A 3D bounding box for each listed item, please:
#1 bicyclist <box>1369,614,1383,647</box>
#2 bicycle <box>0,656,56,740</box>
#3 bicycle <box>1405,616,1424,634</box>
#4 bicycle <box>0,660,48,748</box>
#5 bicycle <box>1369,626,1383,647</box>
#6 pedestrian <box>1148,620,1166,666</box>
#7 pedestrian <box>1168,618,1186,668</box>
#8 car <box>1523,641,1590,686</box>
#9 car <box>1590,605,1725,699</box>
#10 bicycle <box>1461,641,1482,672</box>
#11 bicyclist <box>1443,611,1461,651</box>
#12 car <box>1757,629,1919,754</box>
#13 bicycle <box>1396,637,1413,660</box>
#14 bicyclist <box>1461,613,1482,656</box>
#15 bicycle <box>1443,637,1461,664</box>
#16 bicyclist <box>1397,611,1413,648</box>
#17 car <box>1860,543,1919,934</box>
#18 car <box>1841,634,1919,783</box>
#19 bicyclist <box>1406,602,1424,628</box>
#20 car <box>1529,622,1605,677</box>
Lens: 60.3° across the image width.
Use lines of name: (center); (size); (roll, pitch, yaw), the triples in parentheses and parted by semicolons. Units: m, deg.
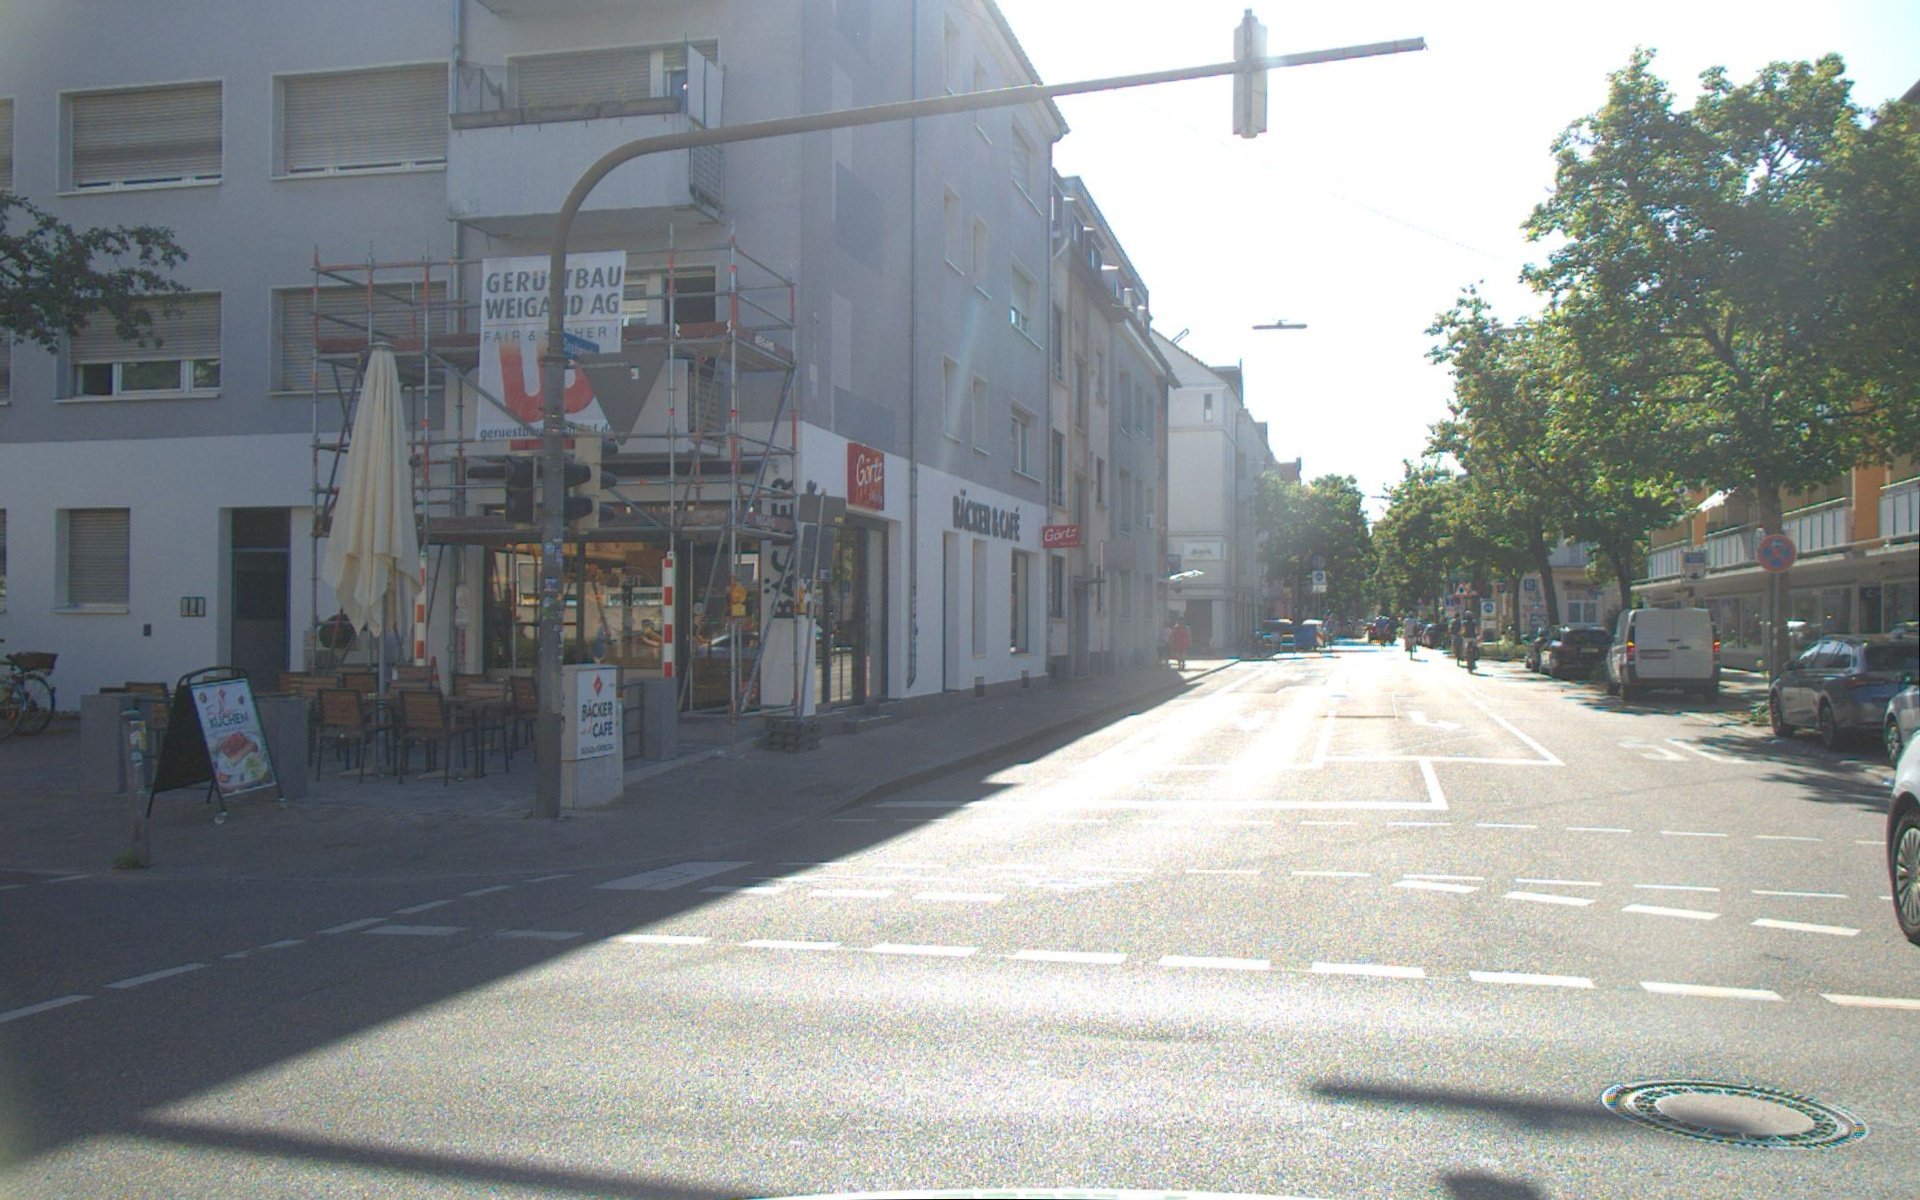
bicyclist: (21.200, 1.550, 84.313); (0.618, 1.698, 1.051); (-1, -1, 13)
bicycle: (-11.525, 1.145, 19.550); (1.555, 0.956, 0.513); (-1, -1, 16)
bicycle: (24.562, 1.337, 89.443); (0.838, 0.961, 2.309); (2, 0, 13)
bicycle: (-11.179, 1.166, 18.752); (1.555, 0.956, 0.513); (-1, -1, 16)
bicycle: (21.290, 1.869, 84.668); (0.618, 1.059, 1.797); (-1, -1, 13)
pedestrian: (6.370, 1.384, 53.413); (0.564, 1.493, 0.703); (0, -1, 8)
pedestrian: (6.948, 1.369, 52.881); (0.564, 1.611, 0.709); (0, -1, 8)
car: (19.204, 2.024, 53.360); (1.676, 1.337, 3.383); (0, -1, 14)
car: (14.864, 1.057, 35.489); (2.002, 1.879, 4.587); (0, -1, 14)
bicycle: (15.477, 1.708, 50.064); (0.535, 0.881, 1.878); (0, -1, 14)
bicyclist: (17.099, 1.073, 57.497); (0.535, 1.407, 0.823); (0, -1, 14)
car: (11.974, 1.156, 22.124); (1.676, 1.509, 3.383); (0, -1, 14)
bicycle: (17.145, 1.862, 63.761); (0.606, 0.881, 1.878); (0, -1, 14)
bicyclist: (15.468, 1.046, 50.025); (0.535, 1.284, 0.803); (0, -1, 14)
bicycle: (17.099, 1.756, 57.478); (0.535, 0.881, 1.878); (0, -1, 14)
bicyclist: (17.152, 1.139, 63.807); (0.576, 1.407, 0.823); (0, -1, 14)
car: (5.131, 0.625, 6.036); (1.926, 1.842, 4.836); (0, -1, 12)
car: (10.989, 1.140, 17.970); (1.676, 1.509, 3.482); (0, -1, 14)
bicyclist: (24.495, 0.804, 89.112); (0.838, 1.337, 1.211); (2, 0, 13)
car: (17.431, 1.400, 47.612); (1.676, 1.509, 3.383); (0, -1, 14)
